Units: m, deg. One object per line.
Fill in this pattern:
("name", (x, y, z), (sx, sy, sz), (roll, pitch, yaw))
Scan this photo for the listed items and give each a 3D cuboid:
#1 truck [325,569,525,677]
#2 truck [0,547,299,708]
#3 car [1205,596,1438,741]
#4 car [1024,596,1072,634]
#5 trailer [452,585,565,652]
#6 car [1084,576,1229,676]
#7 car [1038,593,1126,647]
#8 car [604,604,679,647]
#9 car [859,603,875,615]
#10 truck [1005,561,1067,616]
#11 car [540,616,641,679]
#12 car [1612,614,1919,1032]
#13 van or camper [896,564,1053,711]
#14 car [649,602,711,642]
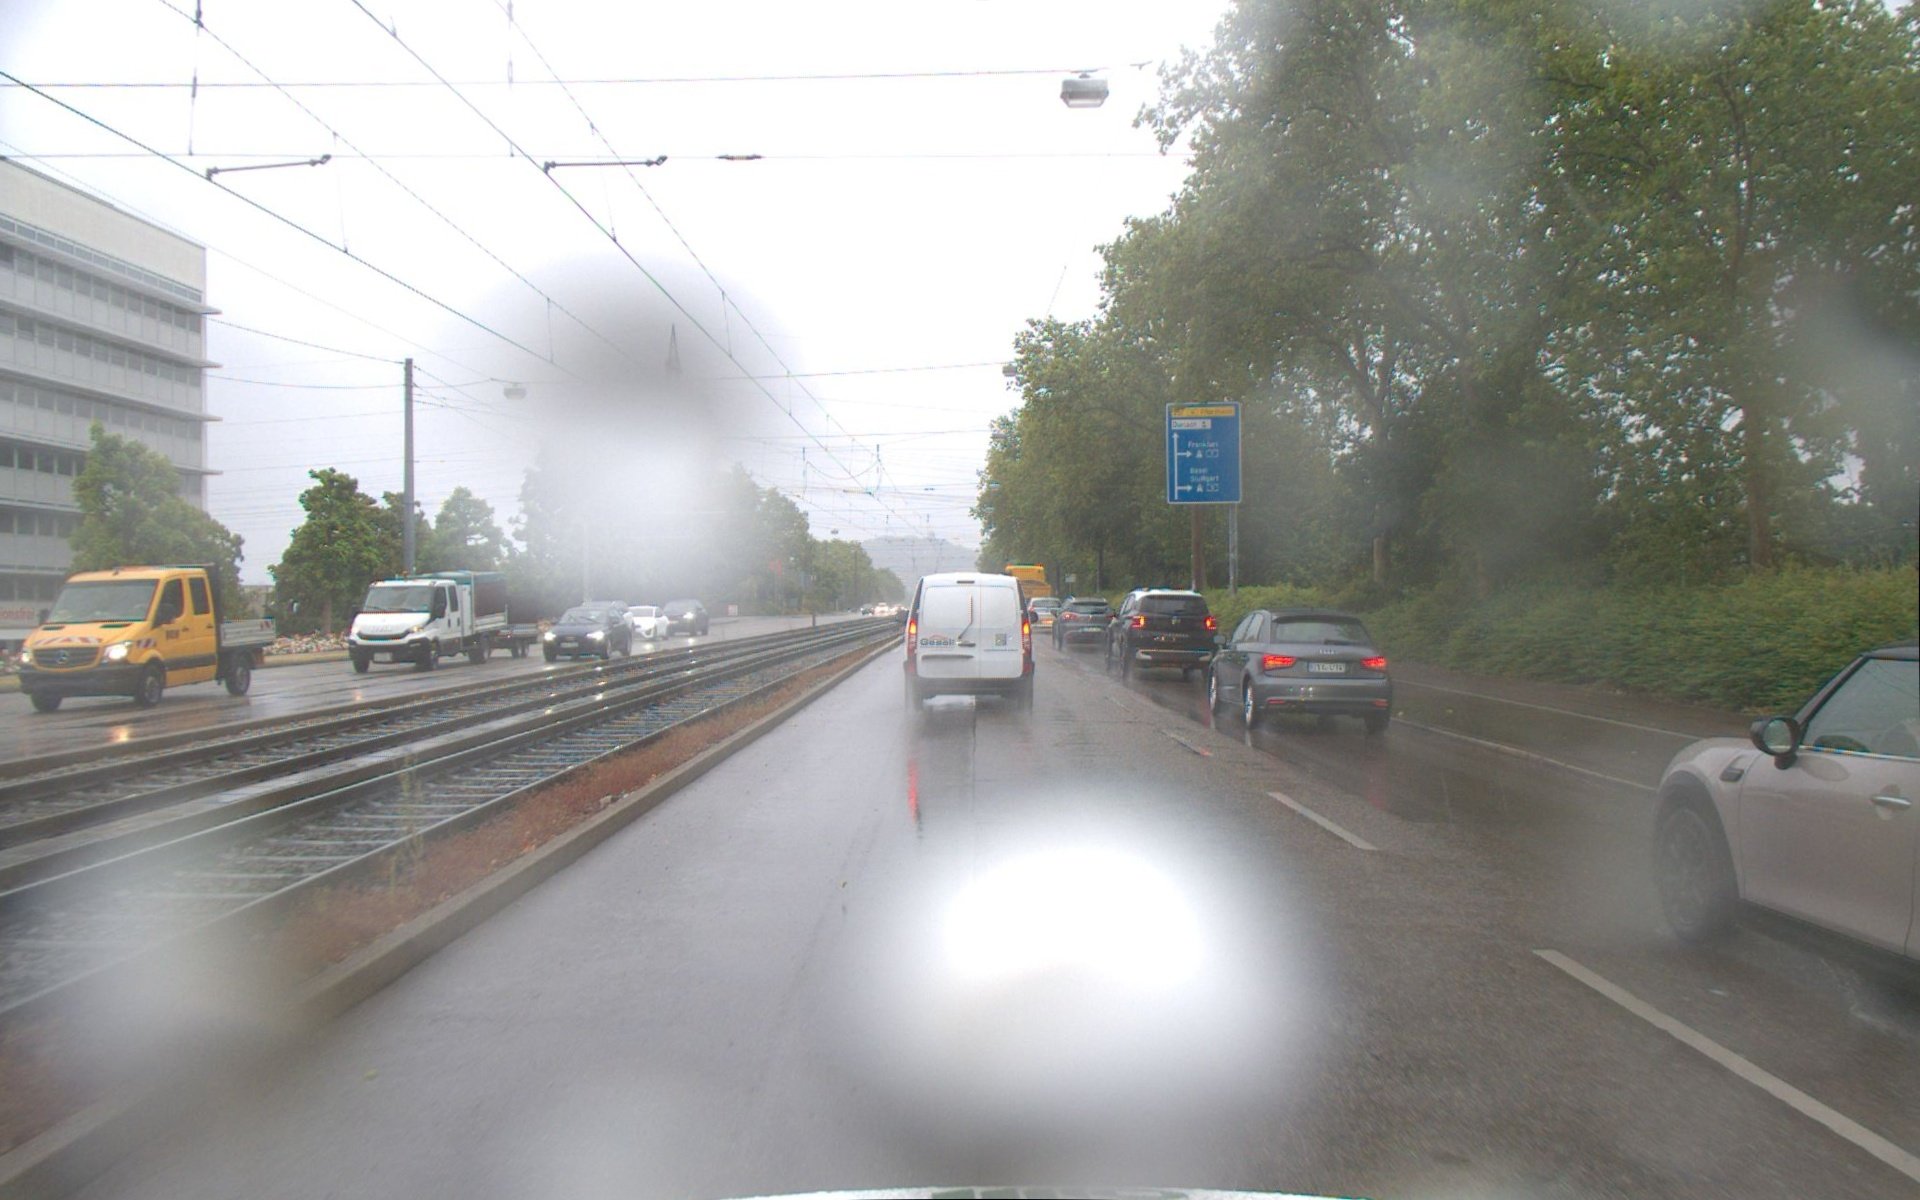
("truck", (-13.718, 0.553, 43.094), (2.384, 2.501, 7.222), (2, 0, 4))
("truck", (-14.212, 0.443, 29.503), (2.181, 2.505, 6.068), (2, 0, 2))
("car", (4.315, 0.752, 20.388), (1.928, 1.555, 3.990), (1, 1, -1))
("car", (3.555, 0.601, 67.342), (1.780, 1.438, 3.779), (1, 1, 1))
("trailer", (-13.279, 0.529, 48.872), (2.075, 1.824, 3.838), (2, 0, 3))
("car", (3.652, 0.431, 31.524), (1.862, 1.747, 4.722), (1, 1, -4))
("car", (3.440, 0.554, 47.388), (1.784, 1.438, 3.772), (1, 1, -7))
("car", (-13.157, 1.028, 68.557), (1.952, 1.611, 4.768), (-2, 0, 3))
("car", (-13.069, 1.262, 232.686), (1.952, 1.646, 4.254), (-1, 0, 2))
("truck", (3.963, -0.587, 87.956), (3.049, 2.822, 6.329), (0, 0, 0))
("car", (-10.348, 1.286, 46.649), (1.781, 1.651, 4.536), (0, 0, 1))
("car", (4.189, 0.814, 6.334), (1.755, 1.439, 3.852), (2, -1, -1))
("van or camper", (0.119, 0.433, 22.869), (1.953, 1.815, 3.999), (1, 1, -2))
("car", (-13.037, 1.010, 77.361), (1.952, 1.751, 4.882), (-2, 0, 1))
